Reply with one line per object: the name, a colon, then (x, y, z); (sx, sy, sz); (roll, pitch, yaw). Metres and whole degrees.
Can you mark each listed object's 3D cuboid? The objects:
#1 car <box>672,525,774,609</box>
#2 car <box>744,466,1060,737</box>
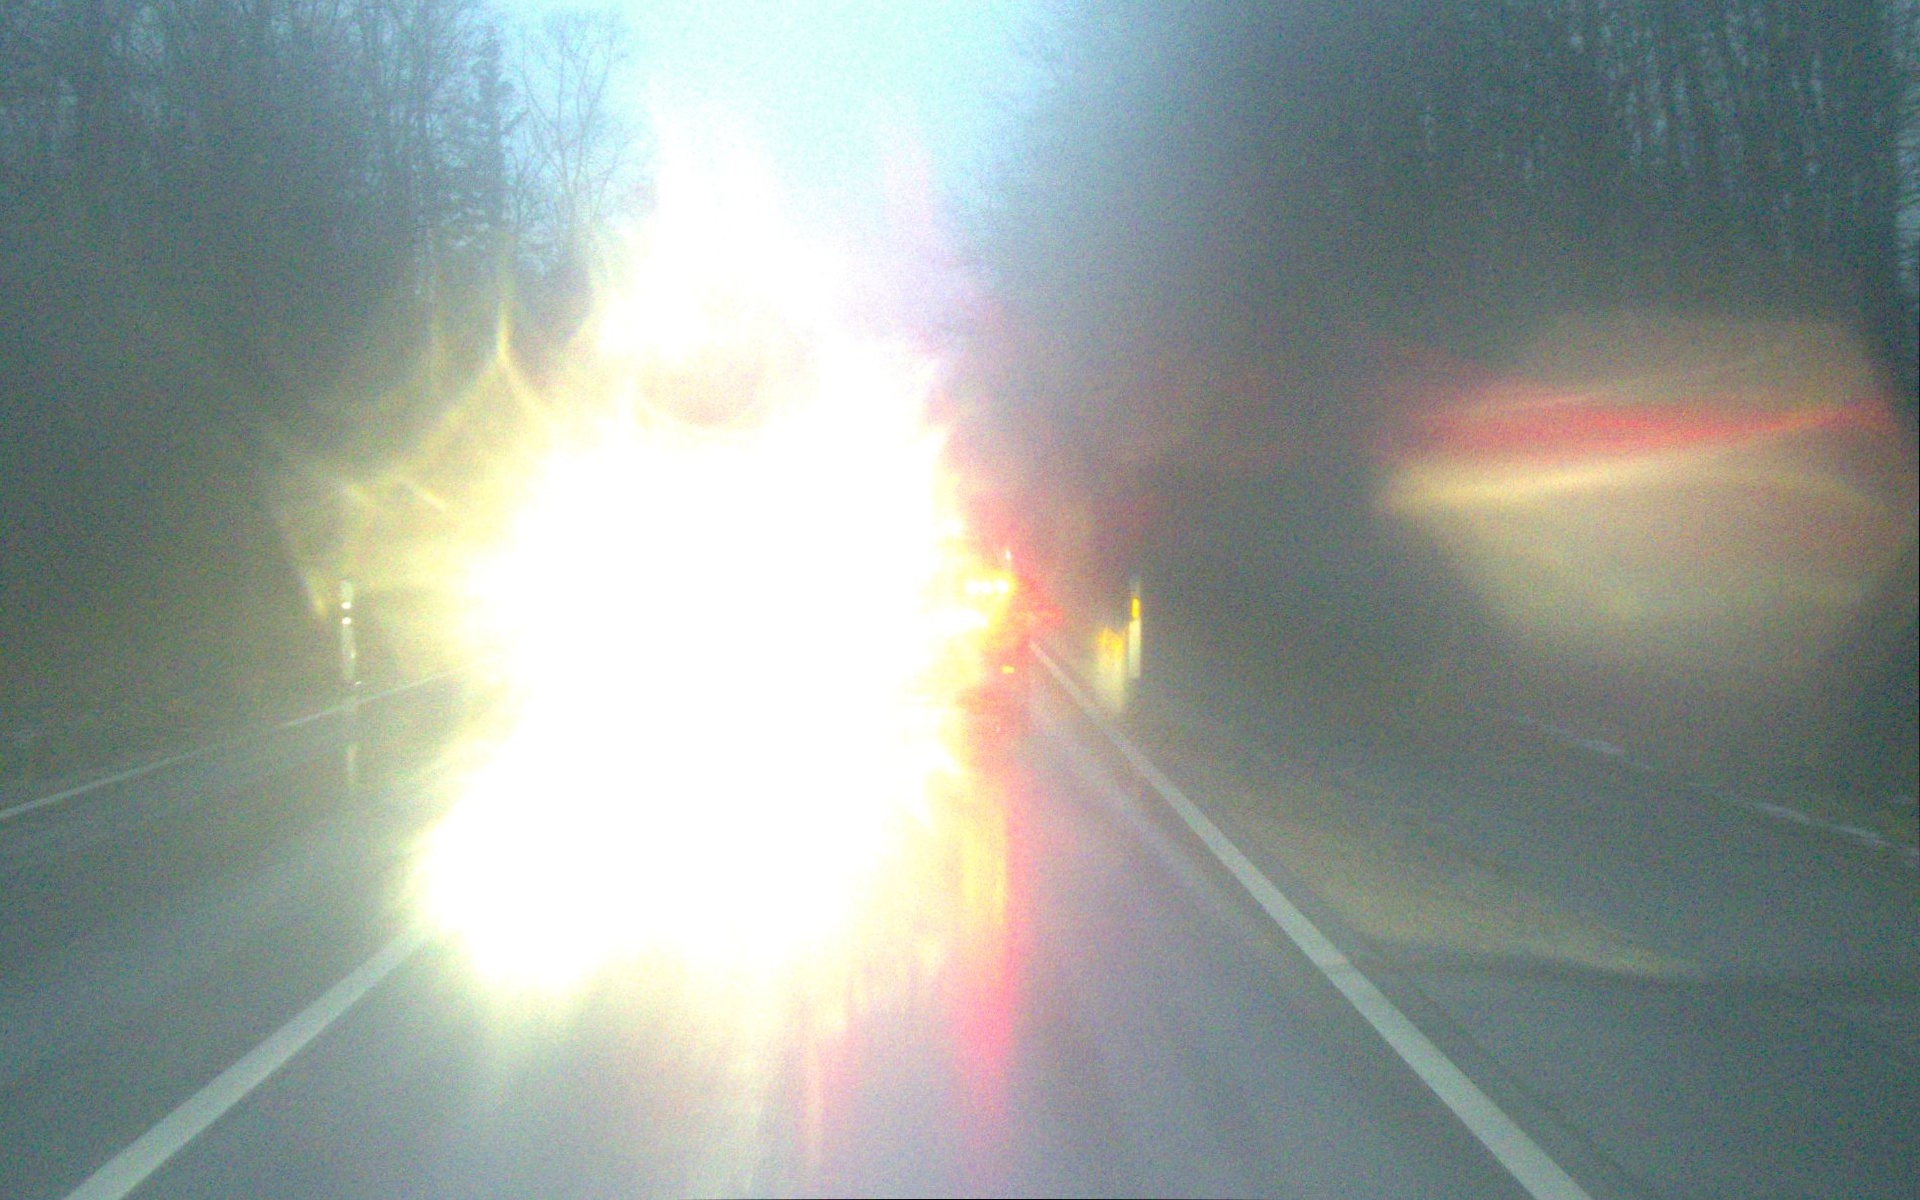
car: (-4.444, -0.646, 64.944); (1.598, 1.490, 3.895); (-2, 1, 0)
car: (-0.457, -0.042, 26.602); (2.198, 1.871, 4.827); (1, 1, -1)
